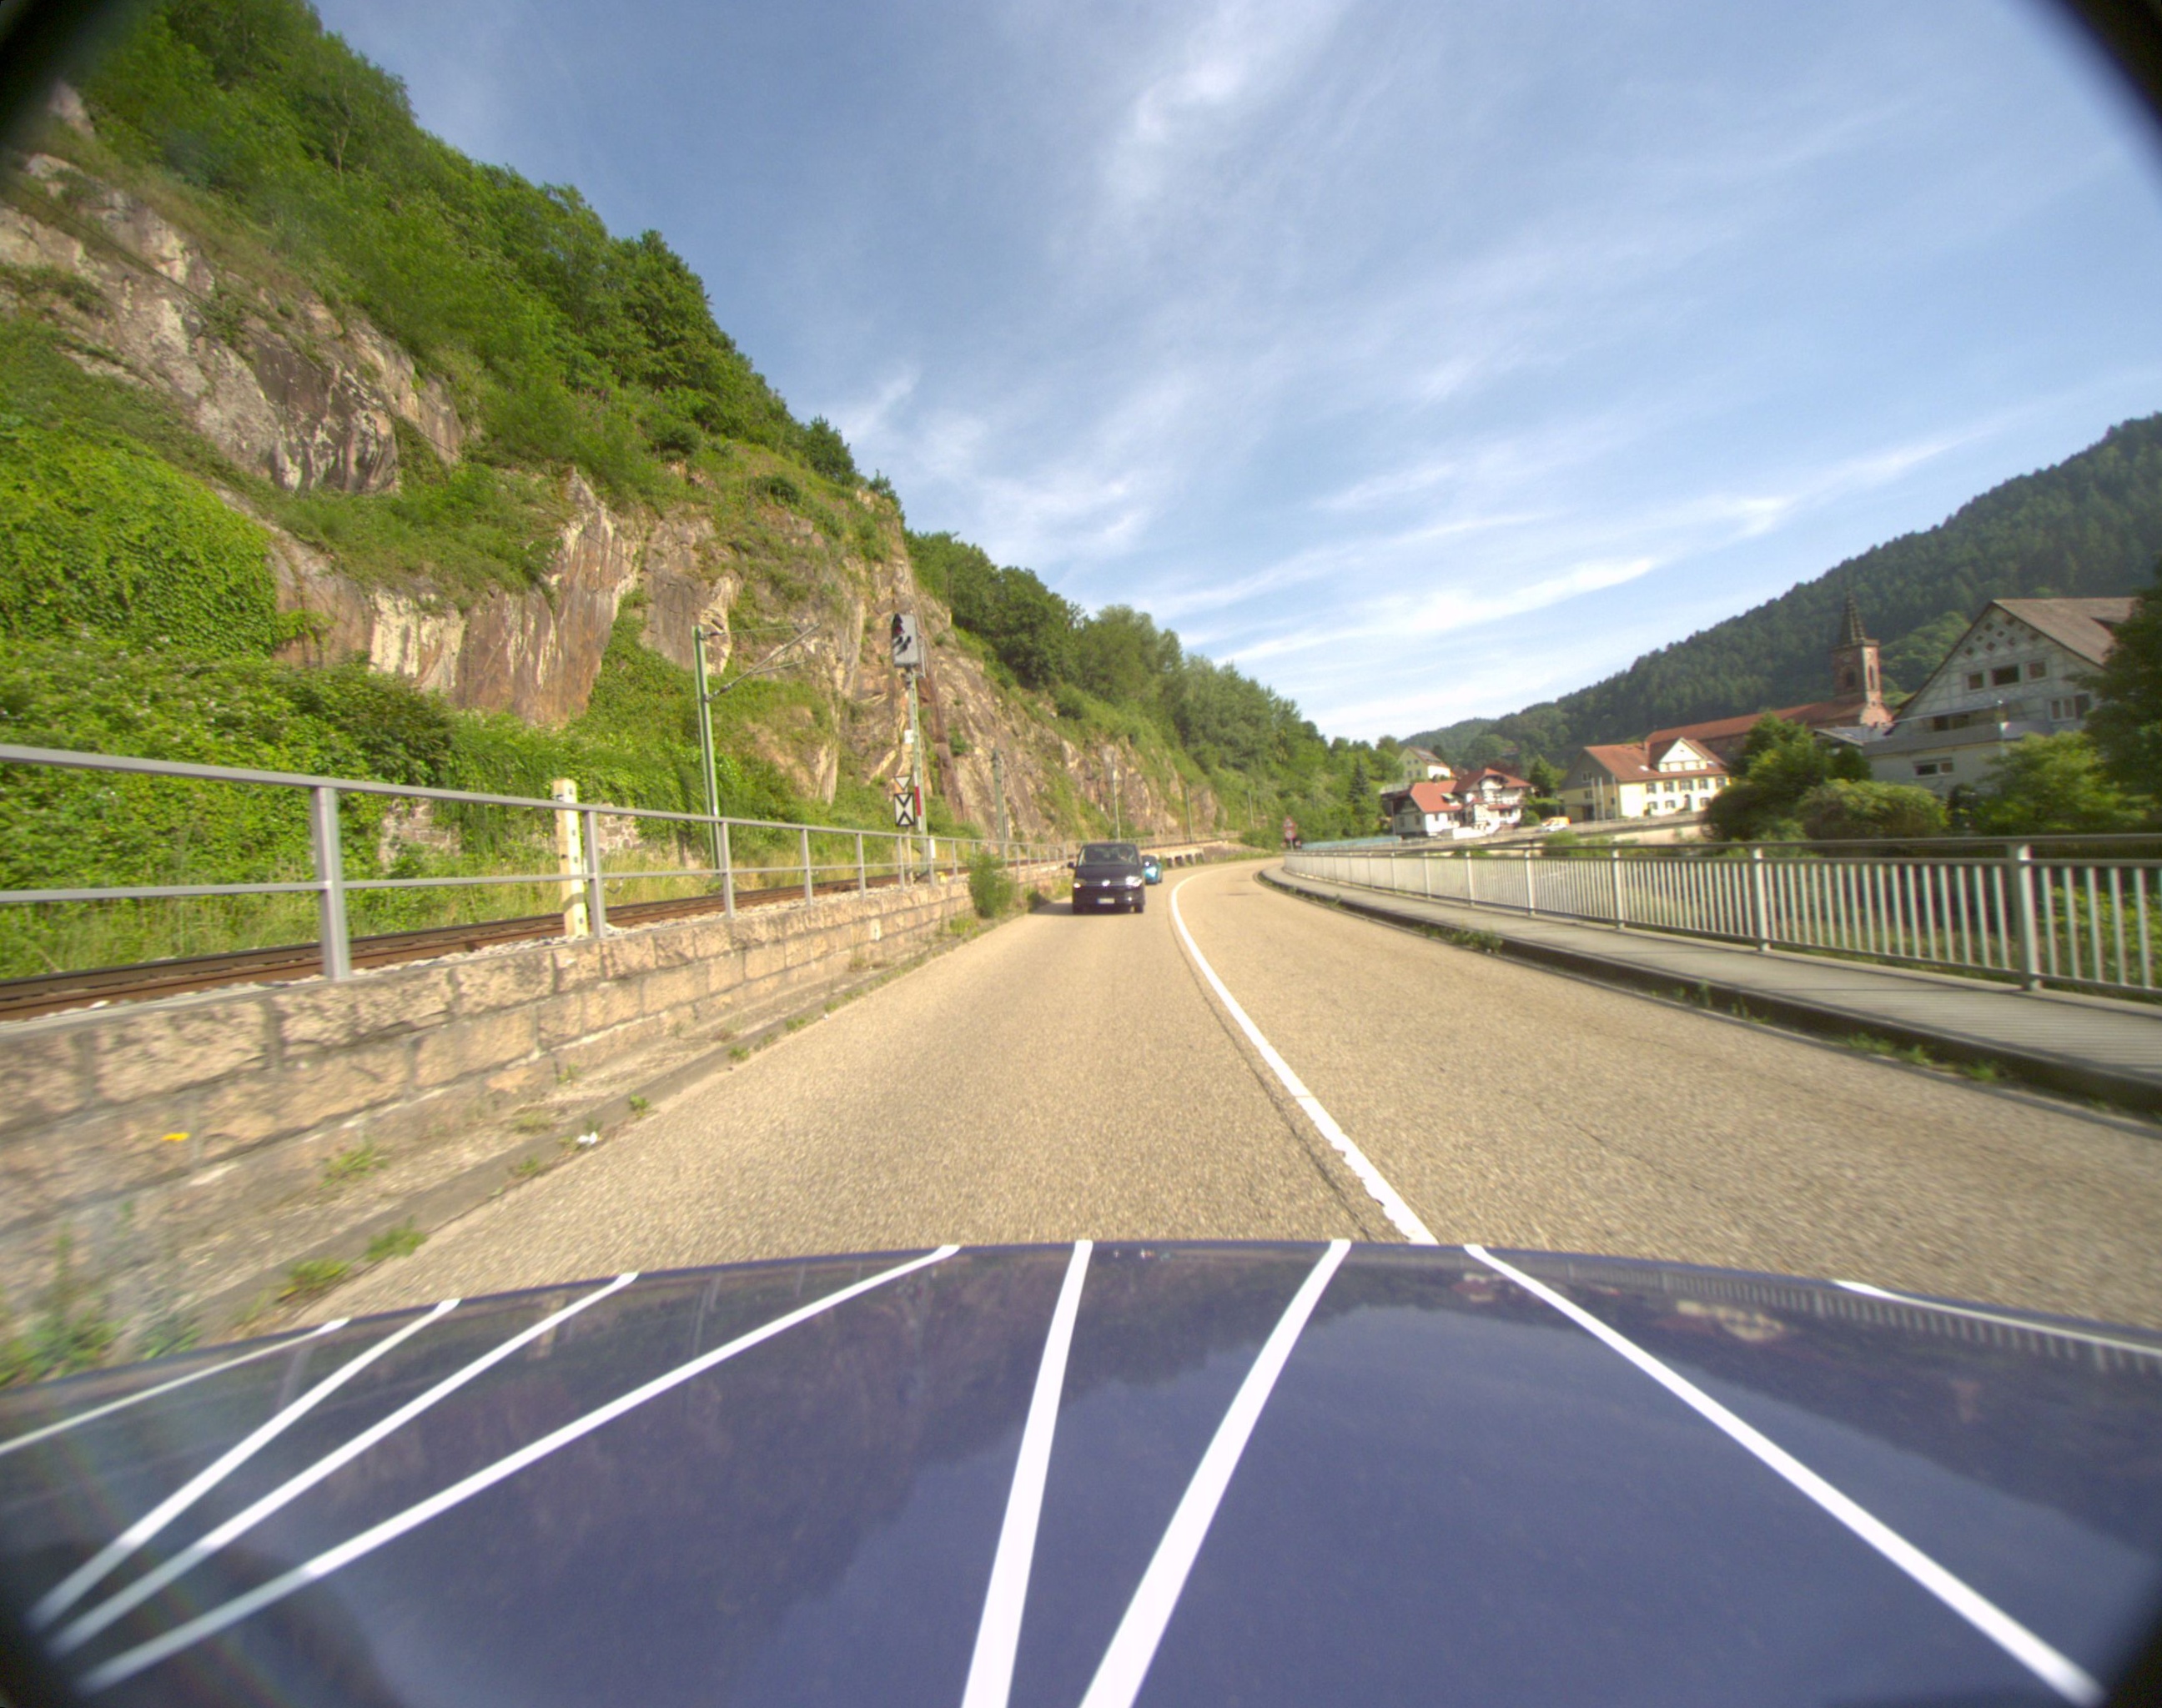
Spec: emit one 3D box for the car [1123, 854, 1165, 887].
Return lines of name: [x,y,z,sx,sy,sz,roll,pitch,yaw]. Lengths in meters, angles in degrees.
car: [3.360,0.811,39.829,1.681,1.513,3.869,-3,0,11]

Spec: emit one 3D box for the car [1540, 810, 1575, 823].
car: [78.703,-6.226,125.569,4.836,1.986,1.913,-1,1,-11]

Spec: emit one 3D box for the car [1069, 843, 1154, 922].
car: [1.010,0.699,21.889,1.886,1.952,4.868,-2,1,8]
